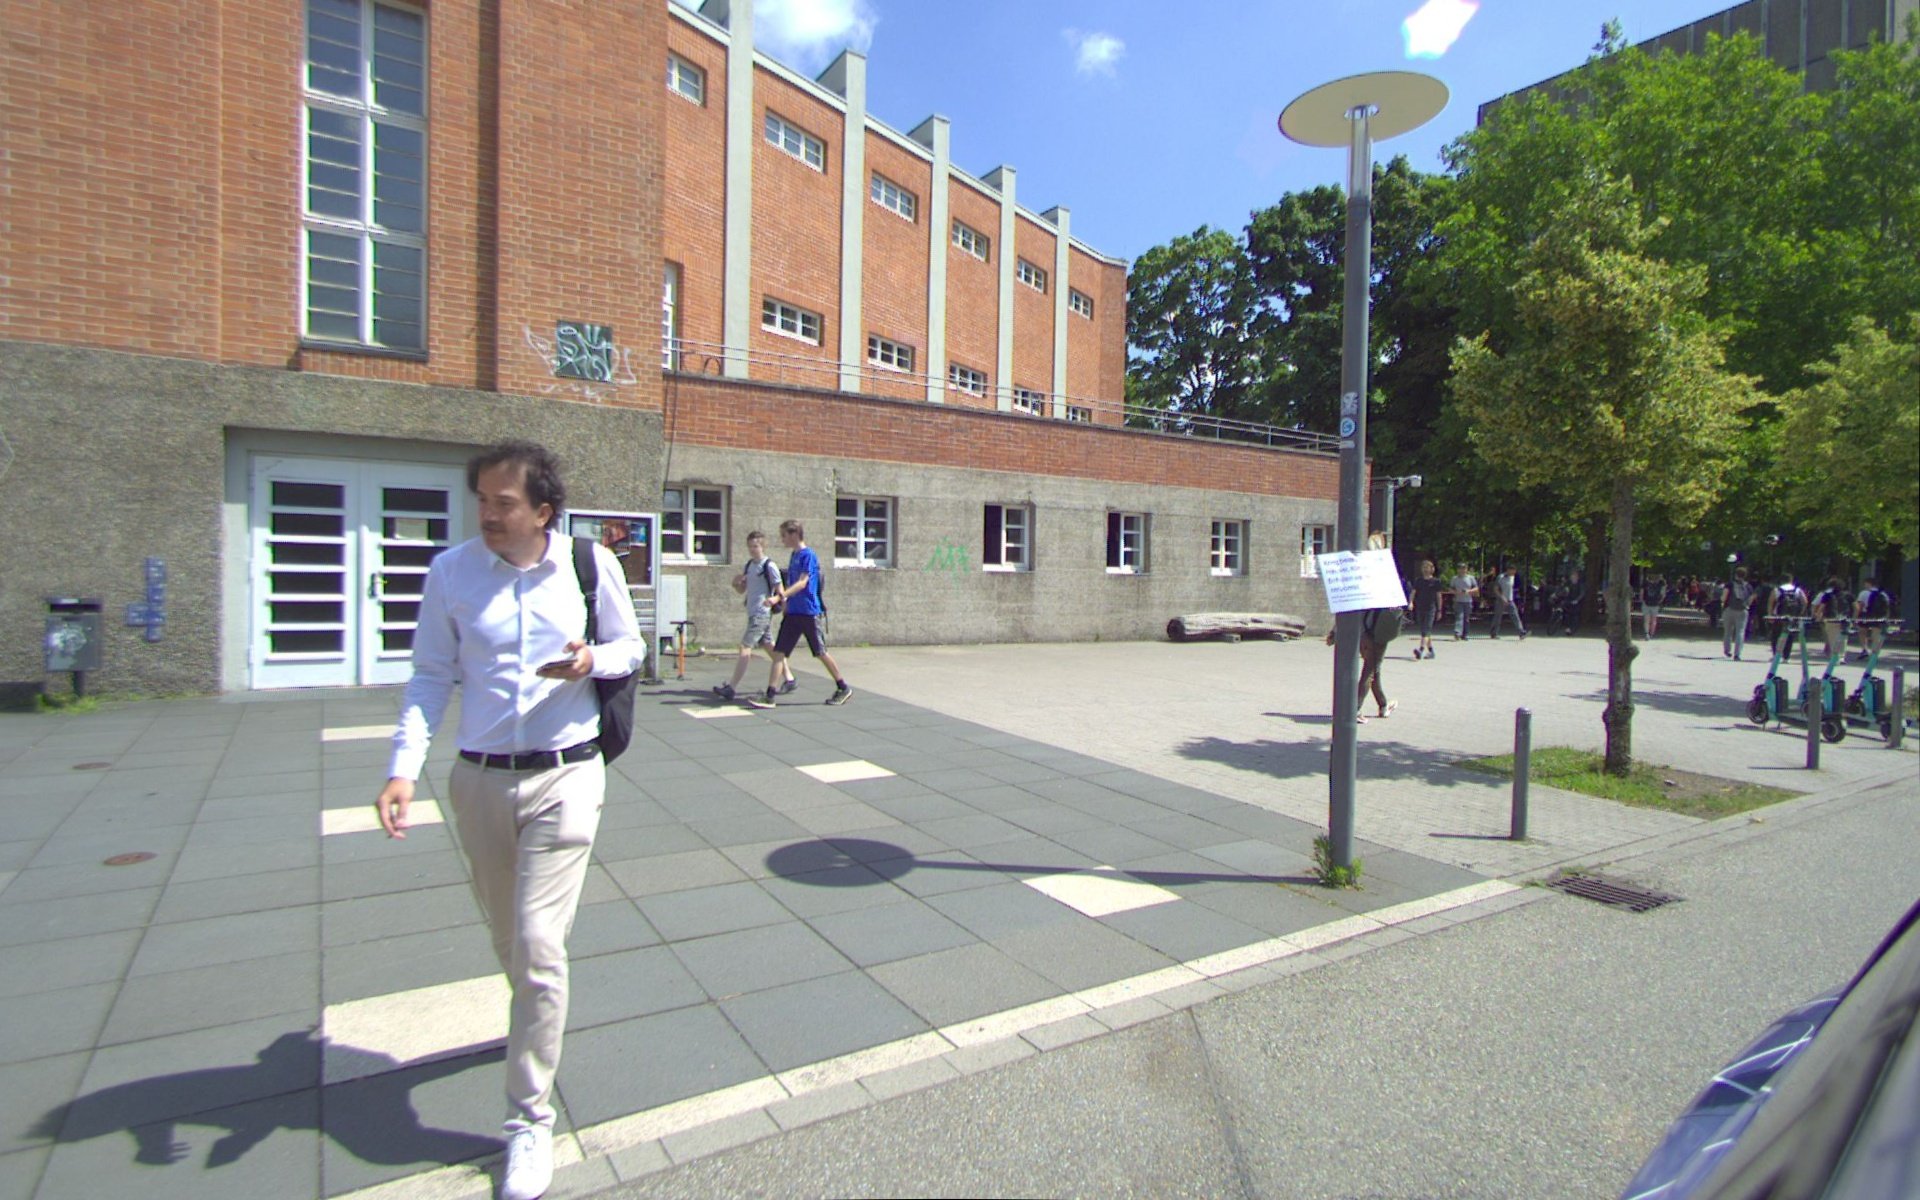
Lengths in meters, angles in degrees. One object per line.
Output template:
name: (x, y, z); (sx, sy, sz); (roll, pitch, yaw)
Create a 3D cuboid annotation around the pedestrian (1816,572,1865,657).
pedestrian: (19.003, 0.304, 21.858); (0.597, 1.774, 0.757); (2, 1, 29)

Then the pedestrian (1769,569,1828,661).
pedestrian: (17.096, 0.292, 20.652); (0.776, 1.813, 0.707); (2, 1, 32)

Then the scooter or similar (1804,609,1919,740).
scooter or similar: (9.731, 0.759, 10.736); (0.565, 1.259, 1.143); (2, 1, 2)

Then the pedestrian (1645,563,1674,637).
pedestrian: (17.538, 0.000, 25.357); (0.538, 1.816, 0.636); (2, 1, 36)

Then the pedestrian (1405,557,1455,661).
pedestrian: (8.428, 0.141, 18.150); (0.584, 1.799, 0.787); (2, 3, 41)

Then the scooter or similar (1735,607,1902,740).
scooter or similar: (8.954, 0.728, 10.620); (0.565, 1.245, 1.356); (2, 1, 2)

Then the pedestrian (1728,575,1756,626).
pedestrian: (24.511, 0.001, 31.727); (0.636, 1.576, 0.567); (2, 1, 39)

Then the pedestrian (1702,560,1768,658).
pedestrian: (16.108, 0.162, 21.073); (0.976, 1.970, 0.966); (2, 1, 35)

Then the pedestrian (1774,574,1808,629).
pedestrian: (25.552, 0.035, 31.133); (0.552, 1.659, 0.640); (1, 1, -35)

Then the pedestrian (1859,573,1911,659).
pedestrian: (19.551, 0.324, 21.404); (0.617, 1.760, 0.766); (2, 1, 32)

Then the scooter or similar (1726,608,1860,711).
scooter or similar: (10.316, 0.726, 12.535); (1.446, 1.194, 0.577); (1, 1, -20)

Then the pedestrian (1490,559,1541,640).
pedestrian: (13.436, 0.006, 24.503); (0.656, 1.911, 0.973); (2, -2, -4)

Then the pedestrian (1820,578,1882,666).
pedestrian: (17.882, 0.422, 20.325); (0.745, 1.694, 0.837); (2, 1, 31)

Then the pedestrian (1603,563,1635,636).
pedestrian: (16.742, -0.013, 25.719); (0.563, 1.816, 0.635); (2, 1, 40)

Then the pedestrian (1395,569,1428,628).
pedestrian: (12.944, -0.035, 28.999); (0.555, 1.677, 0.779); (1, -2, -2)

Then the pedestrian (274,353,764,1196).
pedestrian: (-1.089, 0.384, 2.770); (0.898, 1.870, 1.026); (2, 2, -2)

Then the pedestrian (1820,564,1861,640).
pedestrian: (22.587, 0.047, 25.957); (0.634, 1.893, 0.532); (2, 1, 30)

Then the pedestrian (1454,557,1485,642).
pedestrian: (11.901, -0.002, 23.657); (0.559, 1.954, 0.883); (1, -2, 21)

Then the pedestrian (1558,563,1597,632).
pedestrian: (16.419, -0.067, 26.927); (0.784, 1.788, 0.668); (1, 0, -42)

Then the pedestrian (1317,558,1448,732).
pedestrian: (4.394, 0.421, 10.534); (1.059, 1.696, 0.785); (-1, 2, -36)

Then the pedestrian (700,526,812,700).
pedestrian: (-2.128, 0.106, 10.556); (0.985, 1.727, 0.586); (-1, 3, -41)

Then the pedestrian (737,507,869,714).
pedestrian: (-1.537, 0.074, 9.950); (1.090, 1.913, 0.665); (-1, 2, -40)

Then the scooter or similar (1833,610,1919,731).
scooter or similar: (10.459, 0.762, 11.141); (0.565, 1.248, 1.264); (2, 1, 2)

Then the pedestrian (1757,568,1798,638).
pedestrian: (20.615, 0.065, 25.539); (0.634, 1.728, 0.707); (2, 1, 29)
